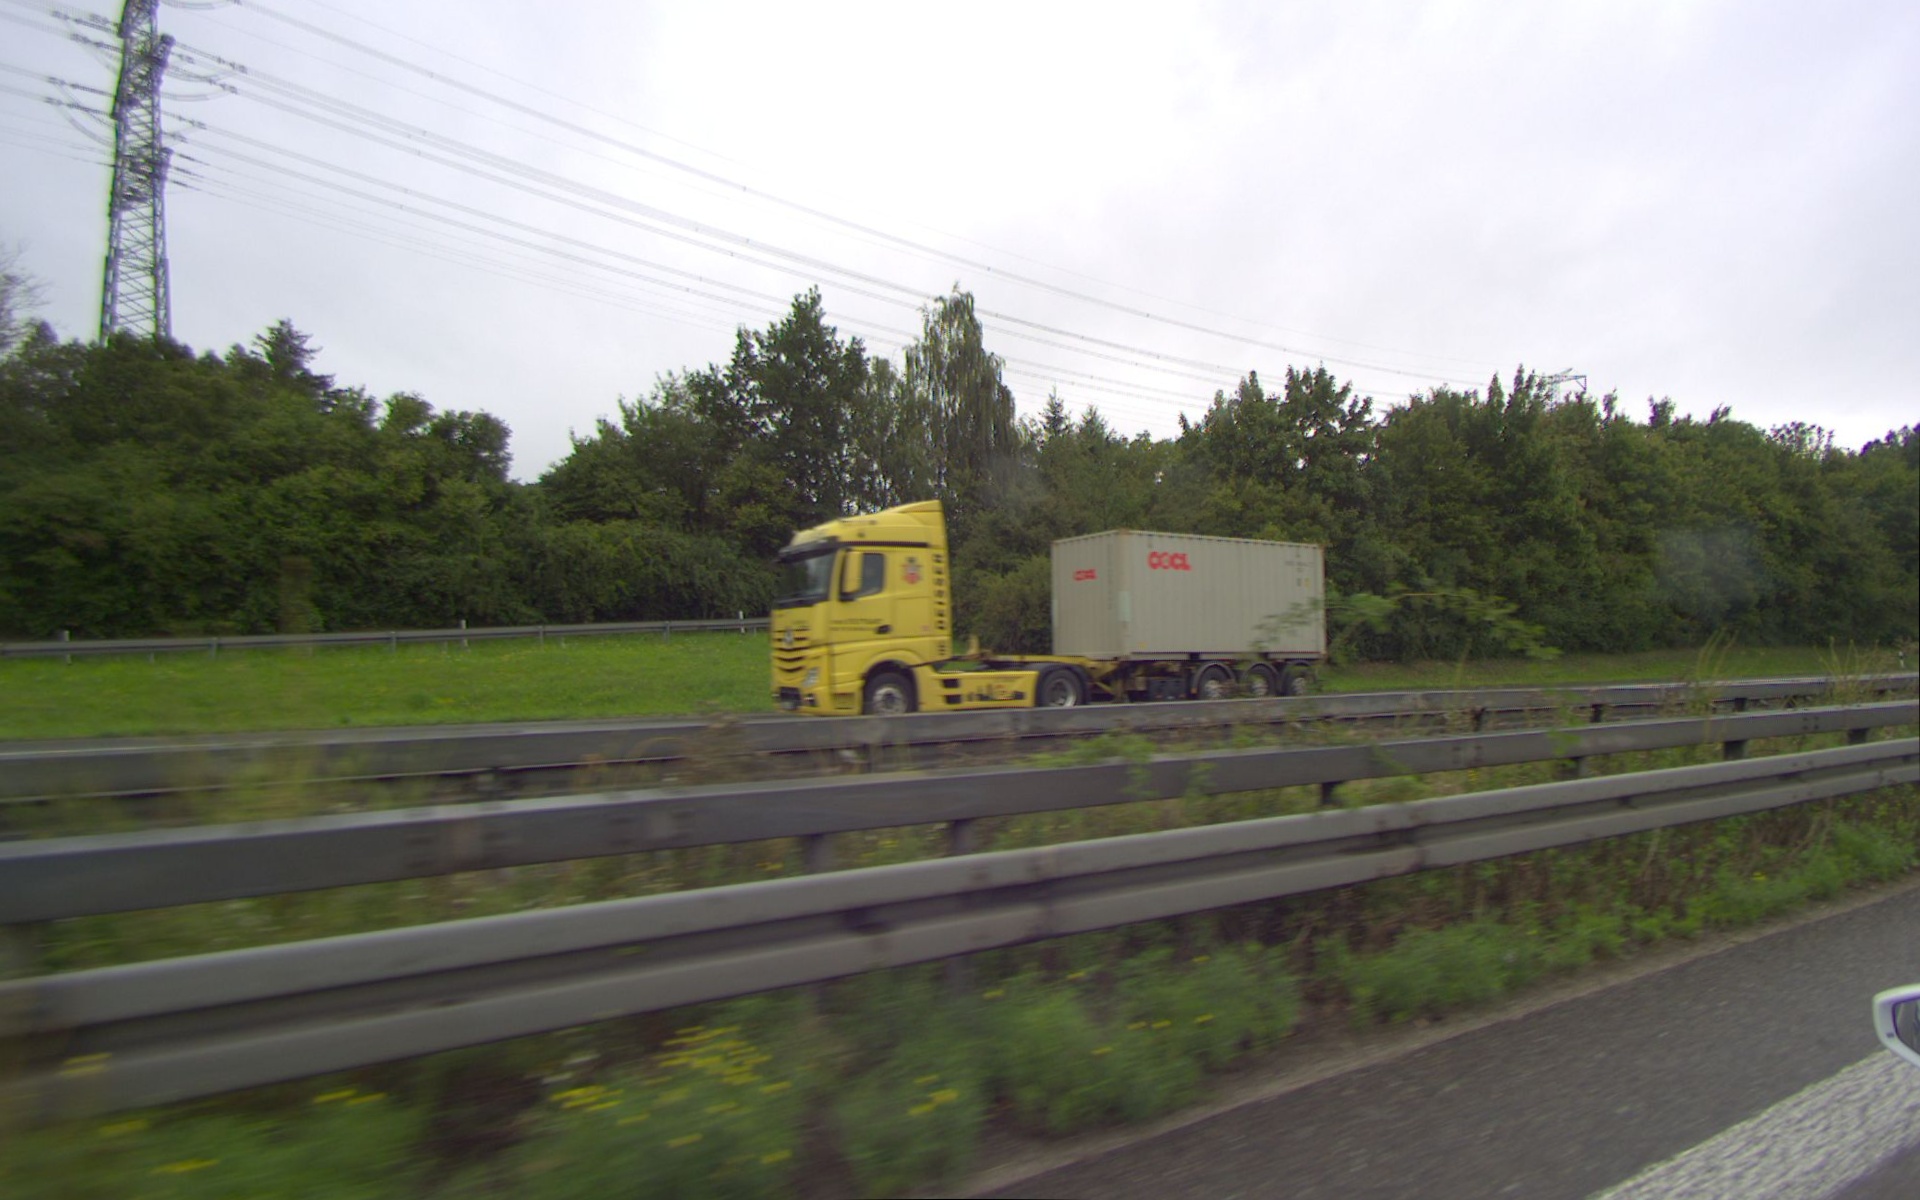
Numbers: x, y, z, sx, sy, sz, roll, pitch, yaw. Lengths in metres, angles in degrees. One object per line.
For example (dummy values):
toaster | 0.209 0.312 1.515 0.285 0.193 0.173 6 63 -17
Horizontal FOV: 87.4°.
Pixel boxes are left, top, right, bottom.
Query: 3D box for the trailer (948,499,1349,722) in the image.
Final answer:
trailer | 4.337 0.349 22.026 9.094 4.108 2.749 1 -3 -31

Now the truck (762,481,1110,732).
truck | -0.406 0.227 19.173 6.085 4.108 2.749 1 -3 -31
